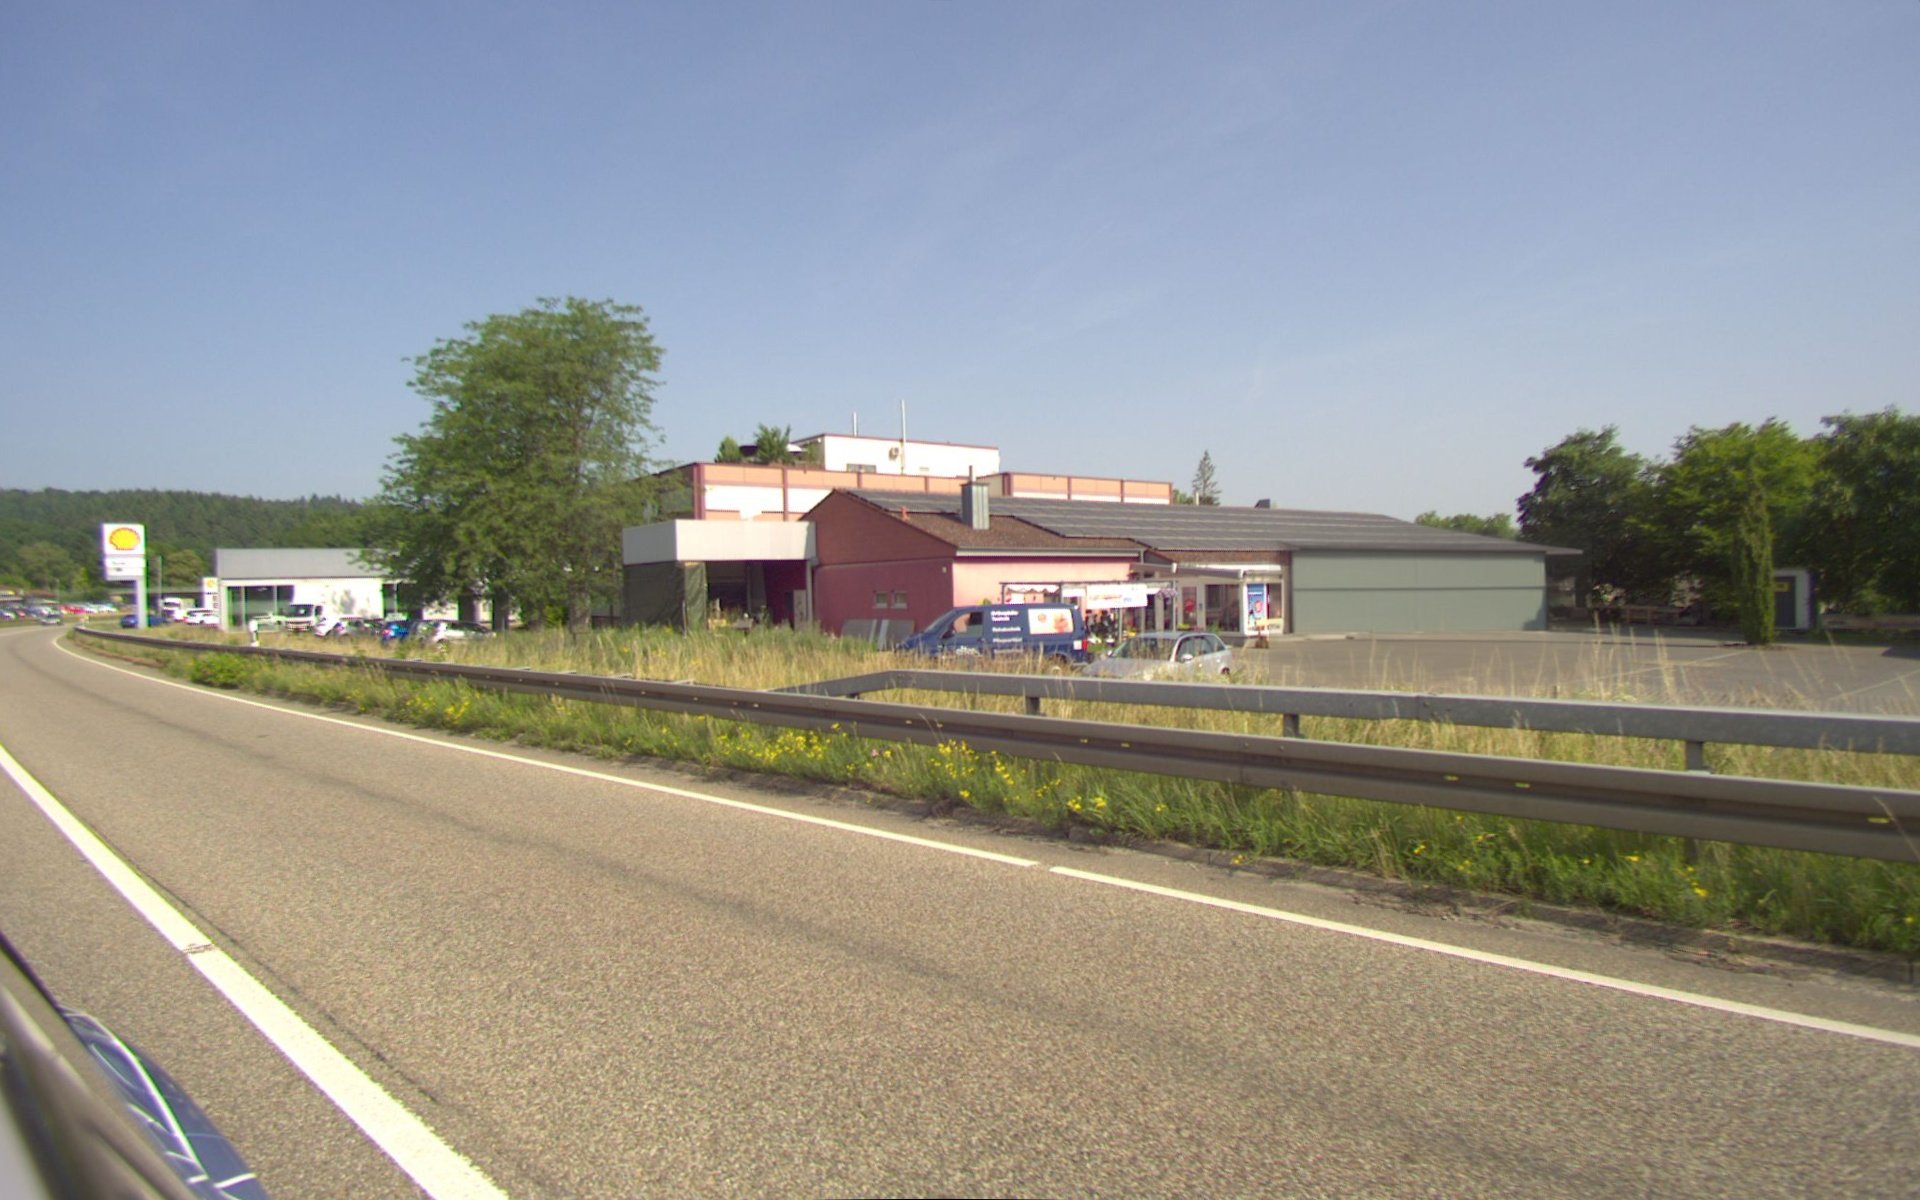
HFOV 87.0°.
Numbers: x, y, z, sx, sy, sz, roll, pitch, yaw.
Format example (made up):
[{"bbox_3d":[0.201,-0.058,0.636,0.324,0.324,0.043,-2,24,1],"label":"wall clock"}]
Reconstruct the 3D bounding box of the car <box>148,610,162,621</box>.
[{"bbox_3d":[-146.927,2.865,184.705,1.889,1.899,4.922,1,-1,-36],"label":"car"}]

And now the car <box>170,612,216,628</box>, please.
[{"bbox_3d":[-98.878,2.578,130.548,4.611,1.871,2.148,-3,1,-37],"label":"car"}]

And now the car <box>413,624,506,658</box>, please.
[{"bbox_3d":[-24.375,1.980,49.356,3.704,1.471,1.863,0,0,-45],"label":"car"}]

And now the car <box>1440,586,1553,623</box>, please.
[{"bbox_3d":[26.688,0.248,50.466,1.715,1.770,4.639,0,-1,-39],"label":"car"}]

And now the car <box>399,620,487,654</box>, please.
[{"bbox_3d":[-26.467,1.850,51.827,3.699,1.511,1.862,-2,1,-37],"label":"car"}]

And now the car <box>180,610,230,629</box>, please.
[{"bbox_3d":[-91.408,2.331,122.514,4.730,1.996,2.233,-3,1,-37],"label":"car"}]

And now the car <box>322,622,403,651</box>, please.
[{"bbox_3d":[-35.225,2.112,59.671,1.932,1.511,3.706,-1,1,44],"label":"car"}]

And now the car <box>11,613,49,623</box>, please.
[{"bbox_3d":[-144.245,2.770,157.059,3.983,1.518,1.812,1,0,-28],"label":"car"}]

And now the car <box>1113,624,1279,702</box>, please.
[{"bbox_3d":[5.227,1.282,21.983,1.741,1.392,4.571,-1,0,38],"label":"car"}]

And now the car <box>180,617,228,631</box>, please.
[{"bbox_3d":[-88.221,2.839,118.153,1.879,1.413,4.214,-1,1,13],"label":"car"}]

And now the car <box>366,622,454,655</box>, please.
[{"bbox_3d":[-29.016,1.979,53.459,3.704,1.511,1.933,-2,1,-44],"label":"car"}]

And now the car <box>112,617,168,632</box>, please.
[{"bbox_3d":[-85.103,2.532,105.053,1.965,1.518,4.215,-1,-1,13],"label":"car"}]

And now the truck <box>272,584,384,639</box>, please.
[{"bbox_3d":[-44.263,0.739,71.221,2.767,3.583,8.213,-2,0,0],"label":"truck"}]

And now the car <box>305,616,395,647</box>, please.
[{"bbox_3d":[-37.153,1.912,61.704,1.932,1.667,4.302,-1,1,44],"label":"car"}]

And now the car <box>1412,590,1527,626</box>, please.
[{"bbox_3d":[24.373,0.402,48.577,1.715,1.620,4.639,0,-1,-39],"label":"car"}]

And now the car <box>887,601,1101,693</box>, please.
[{"bbox_3d":[0.762,1.083,24.506,4.825,2.029,2.004,-1,0,-11],"label":"car"}]
